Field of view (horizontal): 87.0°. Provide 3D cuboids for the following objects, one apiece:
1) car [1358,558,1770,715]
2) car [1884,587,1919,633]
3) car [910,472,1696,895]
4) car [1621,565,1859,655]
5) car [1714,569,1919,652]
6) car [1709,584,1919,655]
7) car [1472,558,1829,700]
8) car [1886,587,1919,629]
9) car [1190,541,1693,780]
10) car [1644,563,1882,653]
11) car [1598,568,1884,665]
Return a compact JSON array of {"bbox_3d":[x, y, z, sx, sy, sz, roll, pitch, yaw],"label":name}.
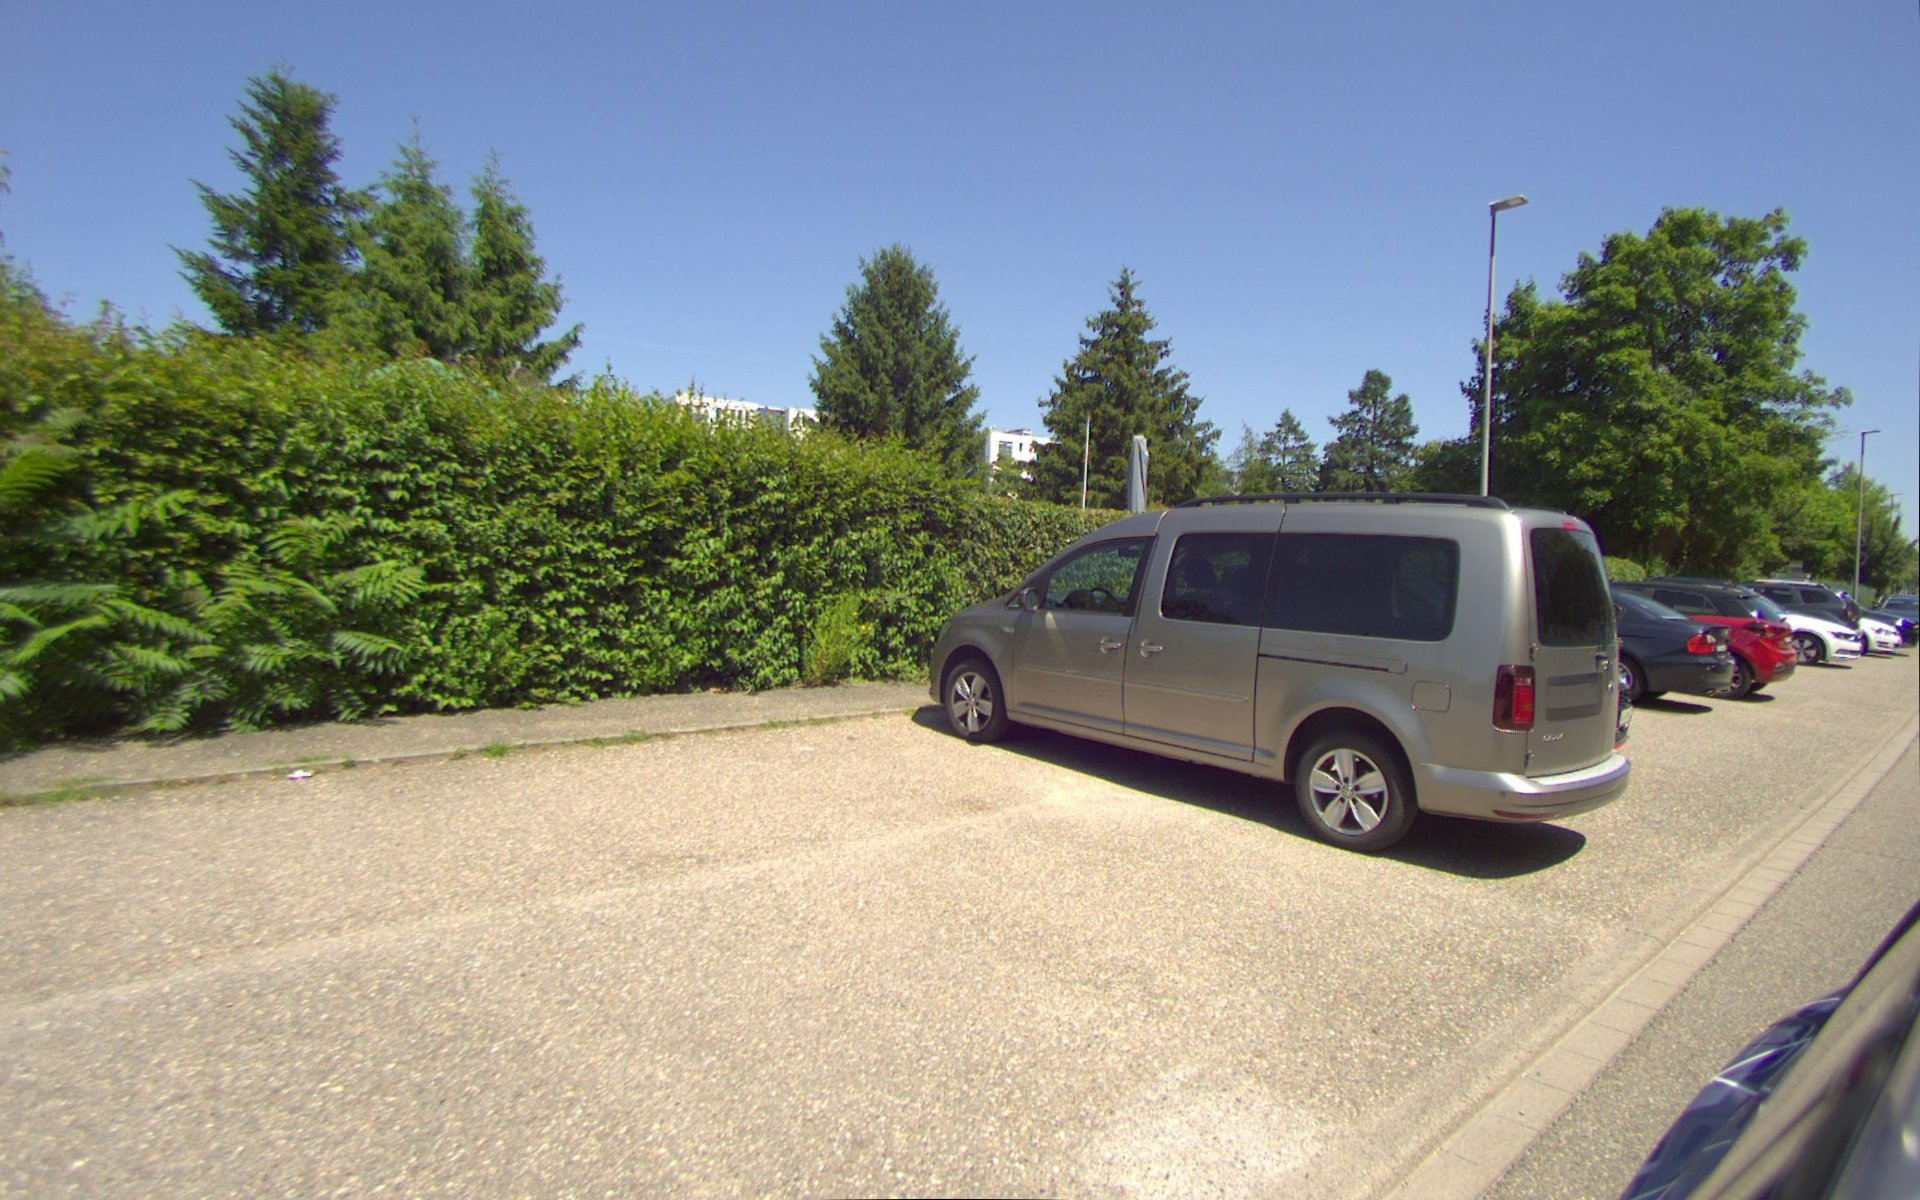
[{"bbox_3d":[7.693,0.343,13.222,1.810,1.404,4.212,1,6,-43],"label":"car"},{"bbox_3d":[35.195,0.399,37.000,1.792,1.499,4.590,8,6,44],"label":"car"},{"bbox_3d":[1.883,0.219,6.863,1.961,1.870,4.632,1,3,-41],"label":"car"},{"bbox_3d":[17.933,0.153,23.398,1.729,1.566,4.055,0,6,-45],"label":"car"},{"bbox_3d":[23.948,0.229,28.058,1.881,1.724,4.480,1,6,-43],"label":"car"},{"bbox_3d":[22.063,0.445,26.195,1.801,1.470,4.003,1,3,-43],"label":"car"},{"bbox_3d":[9.983,0.315,14.866,1.813,1.496,3.929,1,6,-42],"label":"car"},{"bbox_3d":[39.982,0.345,42.250,1.790,1.623,4.064,5,3,44],"label":"car"},{"bbox_3d":[4.128,0.353,8.998,3.578,1.520,1.812,7,5,44],"label":"car"},{"bbox_3d":[19.823,0.132,25.134,1.821,1.718,4.268,1,6,-42],"label":"car"},{"bbox_3d":[16.523,0.269,21.582,4.563,1.456,1.930,9,6,44],"label":"car"}]
